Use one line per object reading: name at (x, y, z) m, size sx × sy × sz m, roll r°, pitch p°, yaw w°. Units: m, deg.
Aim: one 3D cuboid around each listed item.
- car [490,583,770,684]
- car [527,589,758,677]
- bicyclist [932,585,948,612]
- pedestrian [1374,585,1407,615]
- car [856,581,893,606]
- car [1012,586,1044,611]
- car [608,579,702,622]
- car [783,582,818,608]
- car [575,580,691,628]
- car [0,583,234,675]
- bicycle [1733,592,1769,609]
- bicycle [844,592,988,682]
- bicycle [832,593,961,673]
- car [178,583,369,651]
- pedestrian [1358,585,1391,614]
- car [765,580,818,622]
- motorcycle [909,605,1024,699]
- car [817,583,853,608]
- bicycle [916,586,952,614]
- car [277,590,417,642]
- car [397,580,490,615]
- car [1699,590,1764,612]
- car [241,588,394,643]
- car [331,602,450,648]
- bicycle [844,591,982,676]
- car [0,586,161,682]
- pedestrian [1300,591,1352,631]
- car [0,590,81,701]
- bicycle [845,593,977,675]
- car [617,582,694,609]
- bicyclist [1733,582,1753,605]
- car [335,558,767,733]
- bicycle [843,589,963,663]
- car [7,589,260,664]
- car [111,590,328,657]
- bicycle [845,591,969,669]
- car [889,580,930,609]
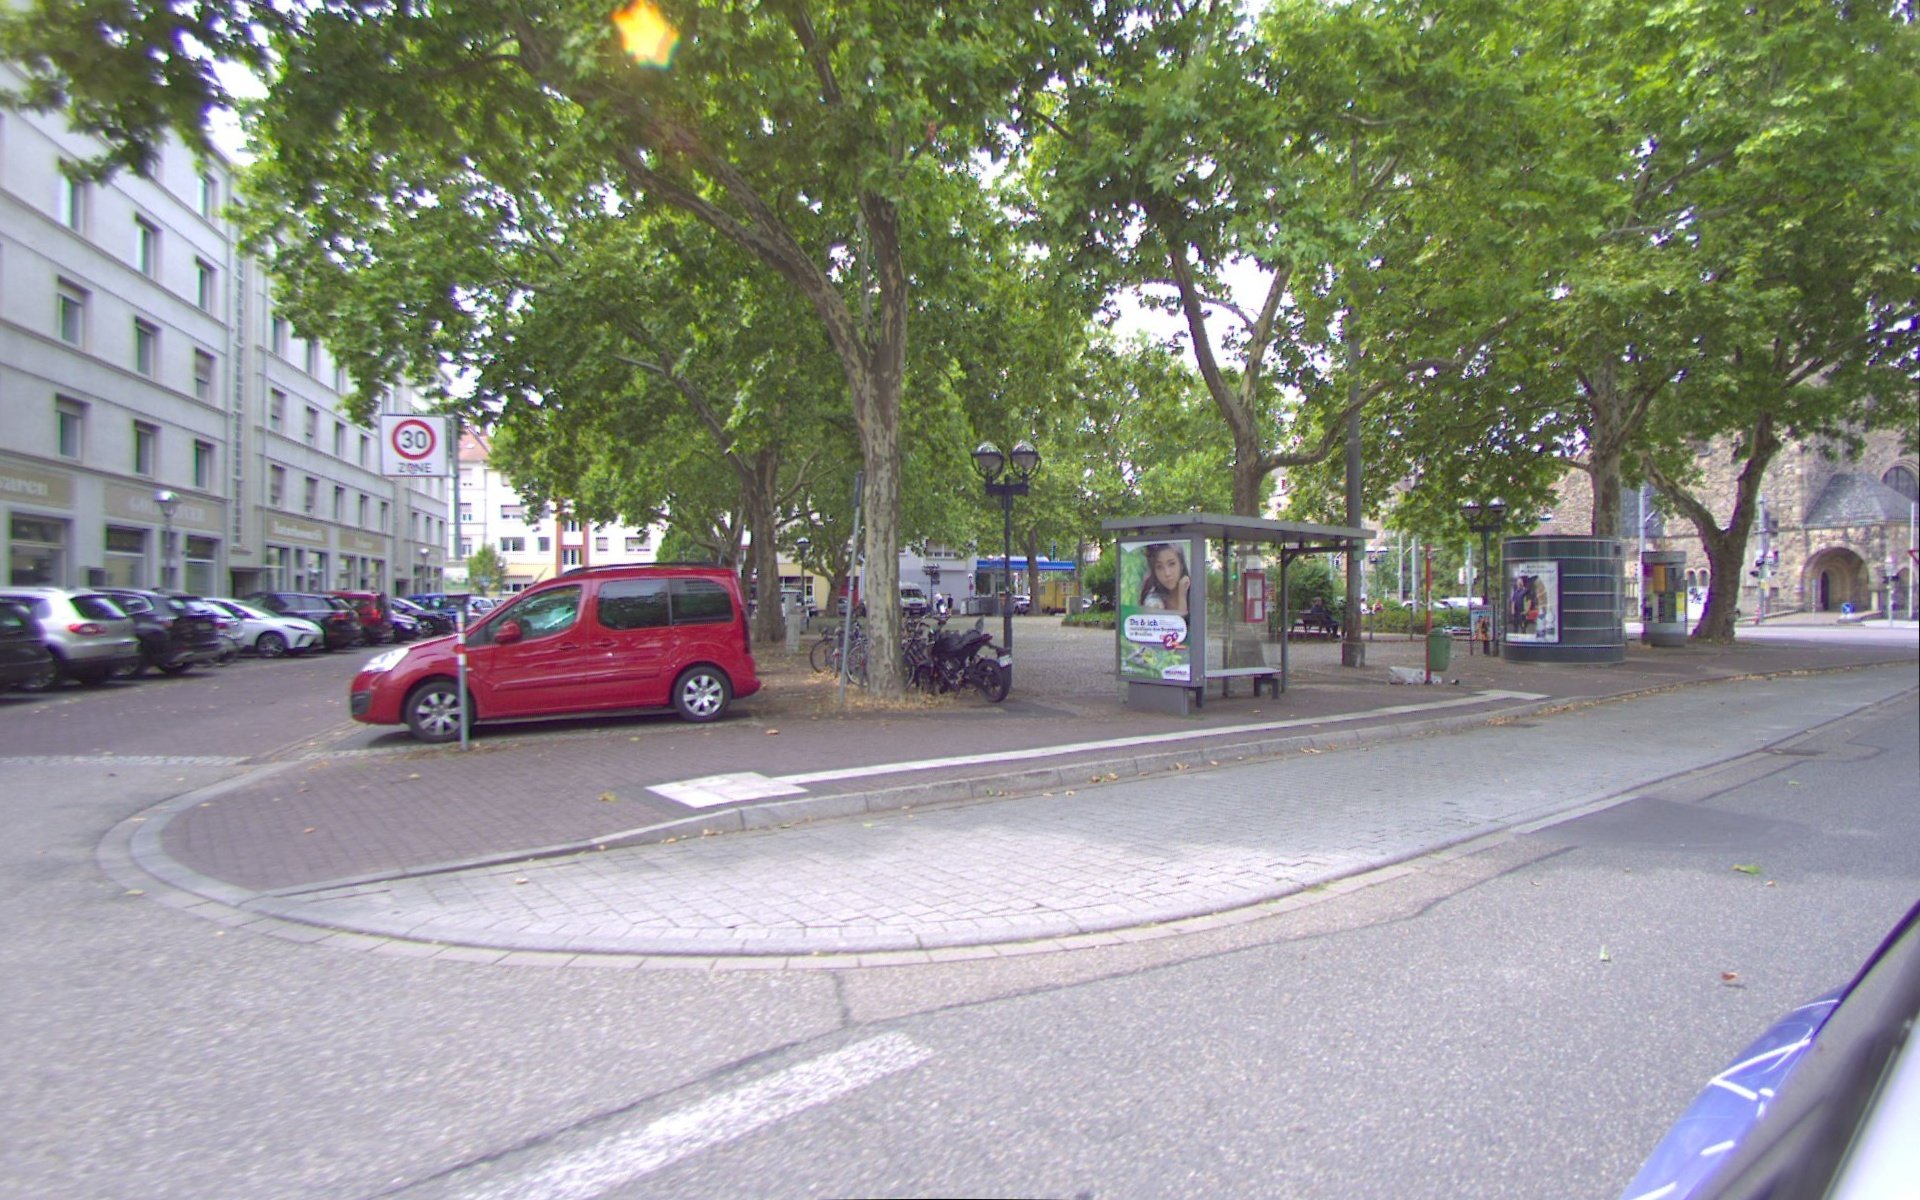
car at (-5.245, 0.471, 16.418) m, size 4.096 × 1.482 × 1.755 m, roll 0°, pitch 1°, yaw -16°
car at (-5.905, 0.553, 18.914) m, size 3.916 × 1.482 × 2.004 m, roll 0°, pitch 1°, yaw -20°
bicyclist at (-1.233, -0.120, 63.051) m, size 0.857 × 1.674 × 0.558 m, roll 0°, pitch -1°, yaw 22°
pedestrian at (19.721, 0.005, 46.389) m, size 0.849 × 1.334 × 1.181 m, roll 1°, pitch 0°, yaw -18°
car at (-6.430, -0.475, 75.713) m, size 1.958 × 1.839 × 4.008 m, roll 0°, pitch 0°, yaw -18°
car at (5.215, -0.096, 78.441) m, size 1.961 × 1.839 × 4.002 m, roll 0°, pitch 0°, yaw -3°
car at (-13.631, 0.009, 45.194) m, size 3.916 × 1.838 × 1.921 m, roll 0°, pitch 1°, yaw -21°
car at (-11.827, -0.391, 74.744) m, size 1.958 × 1.839 × 4.008 m, roll 0°, pitch 0°, yaw -18°
car at (-11.852, 0.132, 36.768) m, size 3.916 × 1.660 × 2.004 m, roll 0°, pitch 0°, yaw -19°
car at (-16.366, 0.500, 18.933) m, size 4.106 × 1.611 × 2.004 m, roll 0°, pitch 0°, yaw -17°
bicycle at (52.329, 0.034, 66.956) m, size 0.586 × 1.099 × 1.815 m, roll 0°, pitch -1°, yaw -21°
bicycle at (-0.711, 0.596, 16.319) m, size 2.264 × 1.395 × 0.421 m, roll 1°, pitch 0°, yaw -8°
bicycle at (-1.149, 0.589, 18.196) m, size 2.264 × 1.395 × 0.421 m, roll 0°, pitch 0°, yaw -8°
car at (-19.337, 0.445, 28.734) m, size 4.106 × 1.820 × 2.004 m, roll 0°, pitch 0°, yaw -19°
pedestrian at (18.854, -0.020, 46.031) m, size 0.849 × 1.334 × 1.181 m, roll 1°, pitch 0°, yaw -18°
car at (-7.804, 0.028, 46.579) m, size 1.958 × 1.838 × 4.342 m, roll 0°, pitch 0°, yaw -16°
motorcycle at (0.063, 0.693, 14.347) m, size 0.522 × 1.238 × 1.856 m, roll 1°, pitch 0°, yaw -42°
car at (-9.288, -0.331, 75.049) m, size 1.958 × 1.839 × 4.008 m, roll 0°, pitch 0°, yaw -18°
bicycle at (-1.604, -0.003, 63.194) m, size 2.159 × 1.727 × 0.717 m, roll 0°, pitch 0°, yaw 23°
car at (-21.724, 0.534, 36.031) m, size 3.916 × 1.749 × 2.004 m, roll 0°, pitch 0°, yaw -18°
car at (-26.254, -0.152, 51.581) m, size 3.916 × 1.749 × 2.004 m, roll 0°, pitch 0°, yaw -18°
car at (59.039, 0.044, 77.458) m, size 3.916 × 1.672 × 2.004 m, roll 0°, pitch 0°, yaw -15°
car at (-21.190, 0.475, 33.583) m, size 3.916 × 1.749 × 2.004 m, roll 0°, pitch 0°, yaw -18°
car at (-23.050, 0.991, 41.121) m, size 3.916 × 1.749 × 2.004 m, roll 0°, pitch 0°, yaw -18°
bicycle at (-0.792, 0.550, 16.954) m, size 2.264 × 1.395 × 0.421 m, roll 0°, pitch 0°, yaw -8°
car at (-16.040, 0.531, 16.644) m, size 4.106 × 1.506 × 2.004 m, roll 0°, pitch 0°, yaw -17°
pedestrian at (11.451, 0.325, 31.702) m, size 1.117 × 1.228 × 1.101 m, roll 0°, pitch 1°, yaw -15°
car at (-15.405, 0.624, 14.246) m, size 4.106 × 1.523 × 2.004 m, roll 0°, pitch 0°, yaw -17°
bicycle at (-0.853, 0.576, 17.595) m, size 2.264 × 1.395 × 0.421 m, roll 0°, pitch 0°, yaw -8°
car at (-17.799, -0.260, 59.375) m, size 4.018 × 1.502 × 2.002 m, roll 0°, pitch 0°, yaw -6°
bicyclist at (52.143, -0.407, 67.412) m, size 0.576 × 1.516 × 0.841 m, roll 0°, pitch -2°, yaw -21°
car at (-4.507, 0.424, 11.631) m, size 4.240 × 1.727 × 1.943 m, roll 0°, pitch 1°, yaw -20°
bicycle at (-1.090, 0.488, 19.388) m, size 2.264 × 1.395 × 0.421 m, roll 0°, pitch 0°, yaw -8°
car at (-18.959, 0.552, 23.461) m, size 4.106 × 1.611 × 2.004 m, roll 0°, pitch 0°, yaw -19°
car at (-18.930, 0.557, 26.097) m, size 4.106 × 1.611 × 2.004 m, roll 0°, pitch 0°, yaw -19°
bicycle at (-0.989, 0.545, 18.786) m, size 2.264 × 1.395 × 0.421 m, roll 0°, pitch 0°, yaw -8°
car at (-3.838, -0.430, 76.089) m, size 1.958 × 2.134 × 4.036 m, roll 0°, pitch 0°, yaw -20°
